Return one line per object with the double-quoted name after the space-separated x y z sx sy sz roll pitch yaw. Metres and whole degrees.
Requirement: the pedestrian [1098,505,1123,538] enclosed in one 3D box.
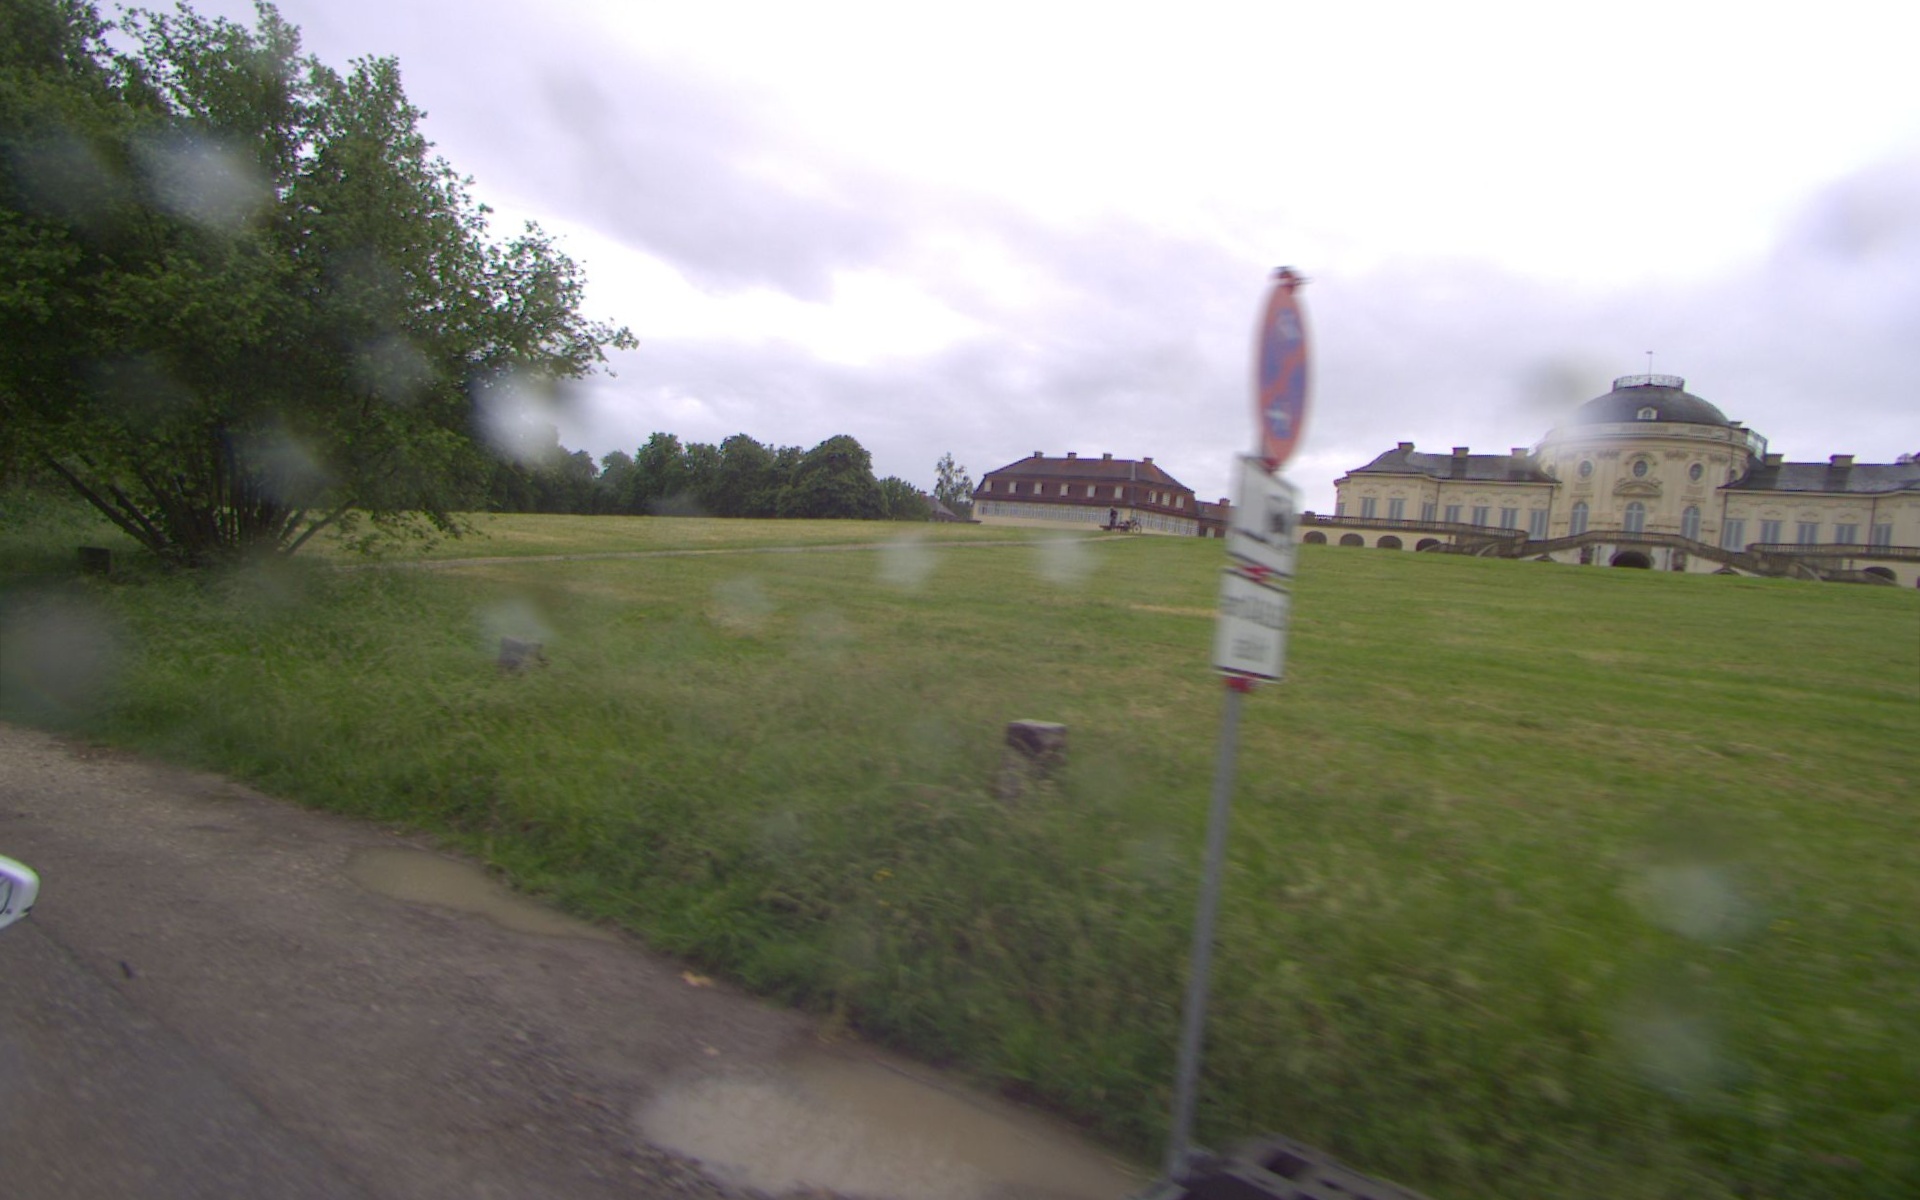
8.822 -4.608 59.036 0.922 1.758 0.794 7 2 -39 "pedestrian"
